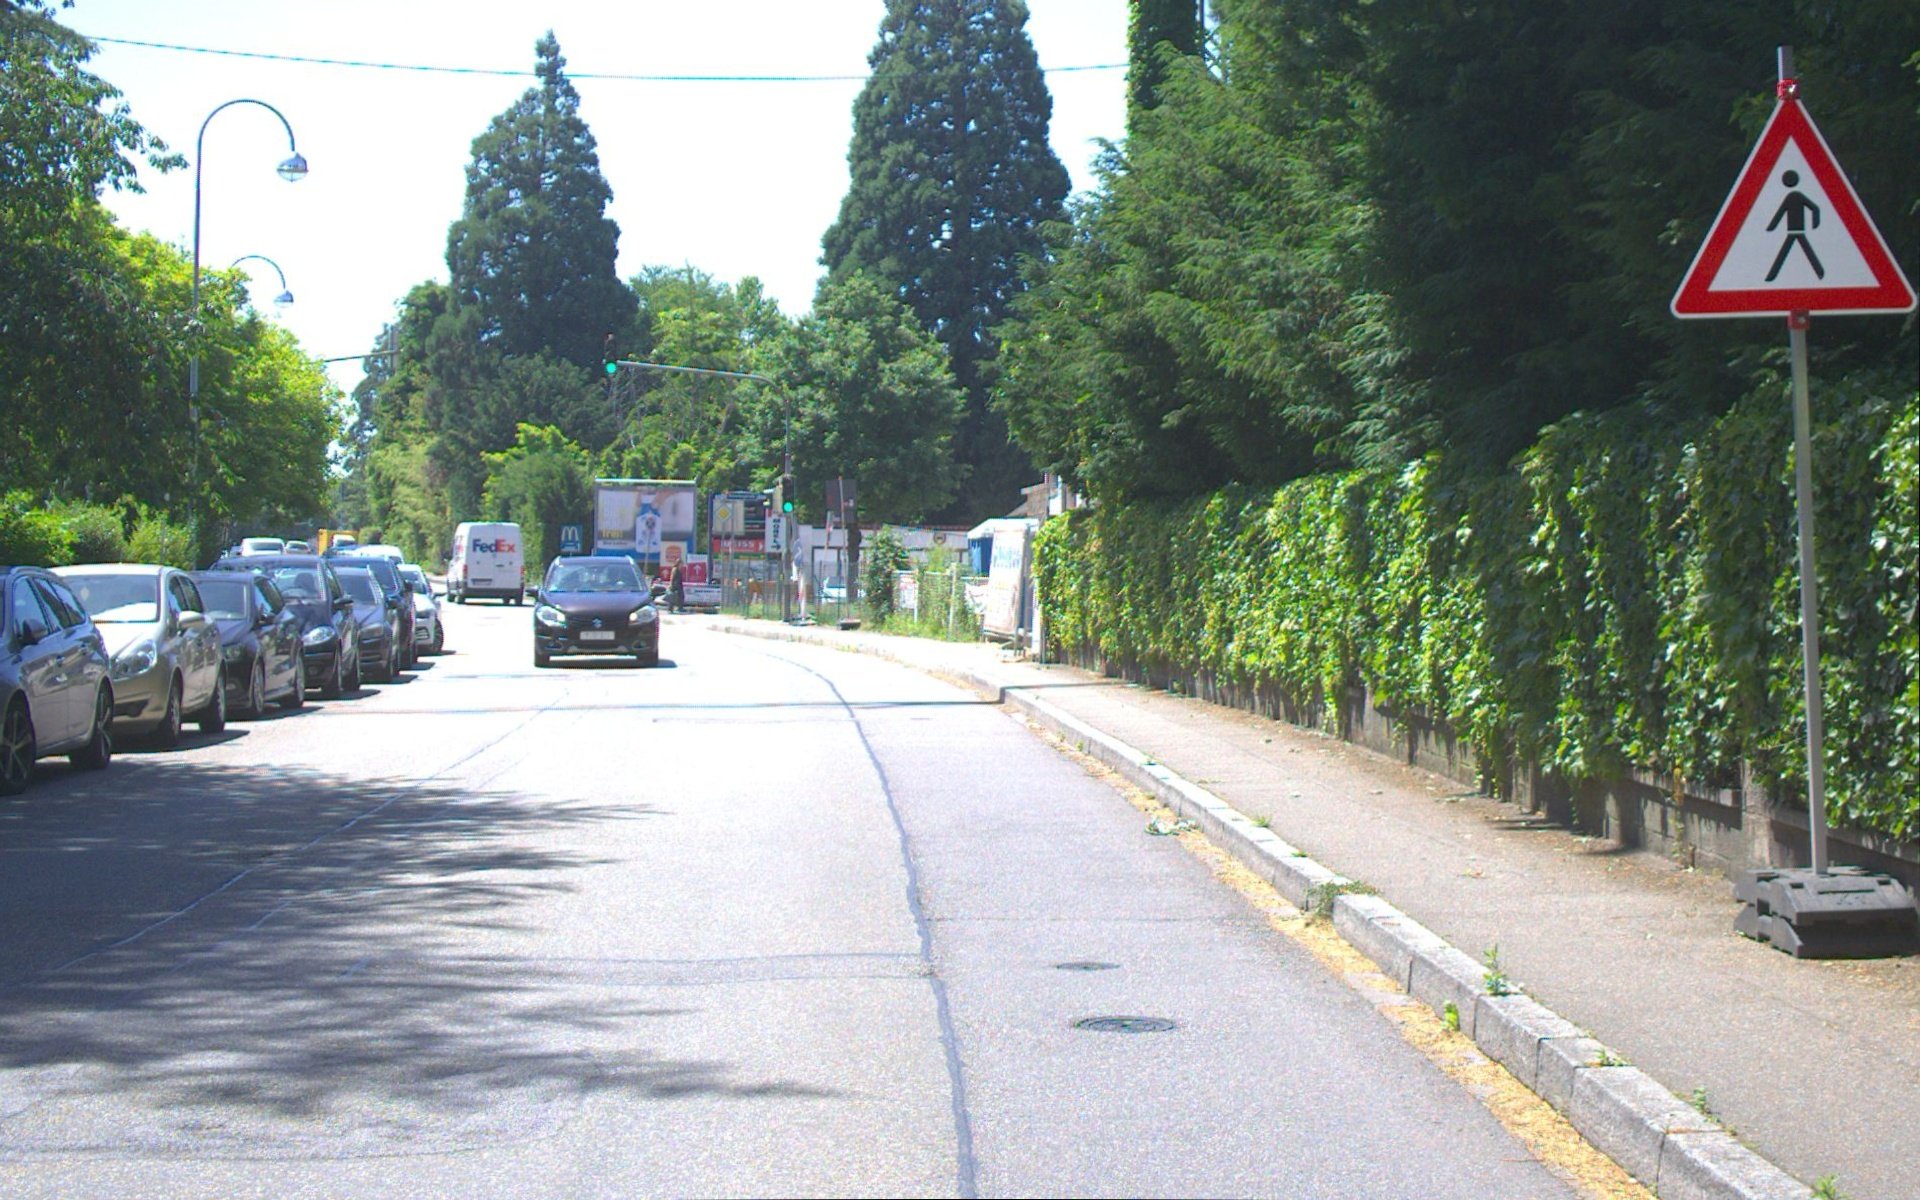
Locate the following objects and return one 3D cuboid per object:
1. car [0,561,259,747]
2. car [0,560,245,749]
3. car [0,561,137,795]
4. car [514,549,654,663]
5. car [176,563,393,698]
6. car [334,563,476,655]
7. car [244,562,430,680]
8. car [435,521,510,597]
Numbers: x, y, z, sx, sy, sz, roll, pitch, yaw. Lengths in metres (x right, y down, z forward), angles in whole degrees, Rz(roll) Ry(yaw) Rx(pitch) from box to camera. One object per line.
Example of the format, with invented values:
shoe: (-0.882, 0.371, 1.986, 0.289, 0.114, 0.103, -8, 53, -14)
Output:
car: (-7.087, 0.398, 28.682, 1.688, 1.439, 4.136, 0, 0, -1)
car: (-7.131, 0.401, 28.666, 1.689, 1.444, 4.001, 1, 1, -3)
car: (-6.795, 0.467, 22.916, 1.688, 1.439, 4.136, 0, 0, -1)
car: (-5.389, 0.061, 49.655, 1.852, 1.579, 4.136, 0, 0, -4)
car: (-7.558, 0.313, 38.782, 1.688, 1.439, 4.136, 0, 0, -1)
car: (-8.990, 0.130, 55.943, 1.688, 1.439, 4.136, 0, 0, -1)
car: (-7.912, 0.237, 43.964, 1.688, 1.439, 4.136, 0, 0, -1)
car: (-15.346, -1.298, 108.059, 2.143, 2.307, 4.854, 0, 1, -10)
